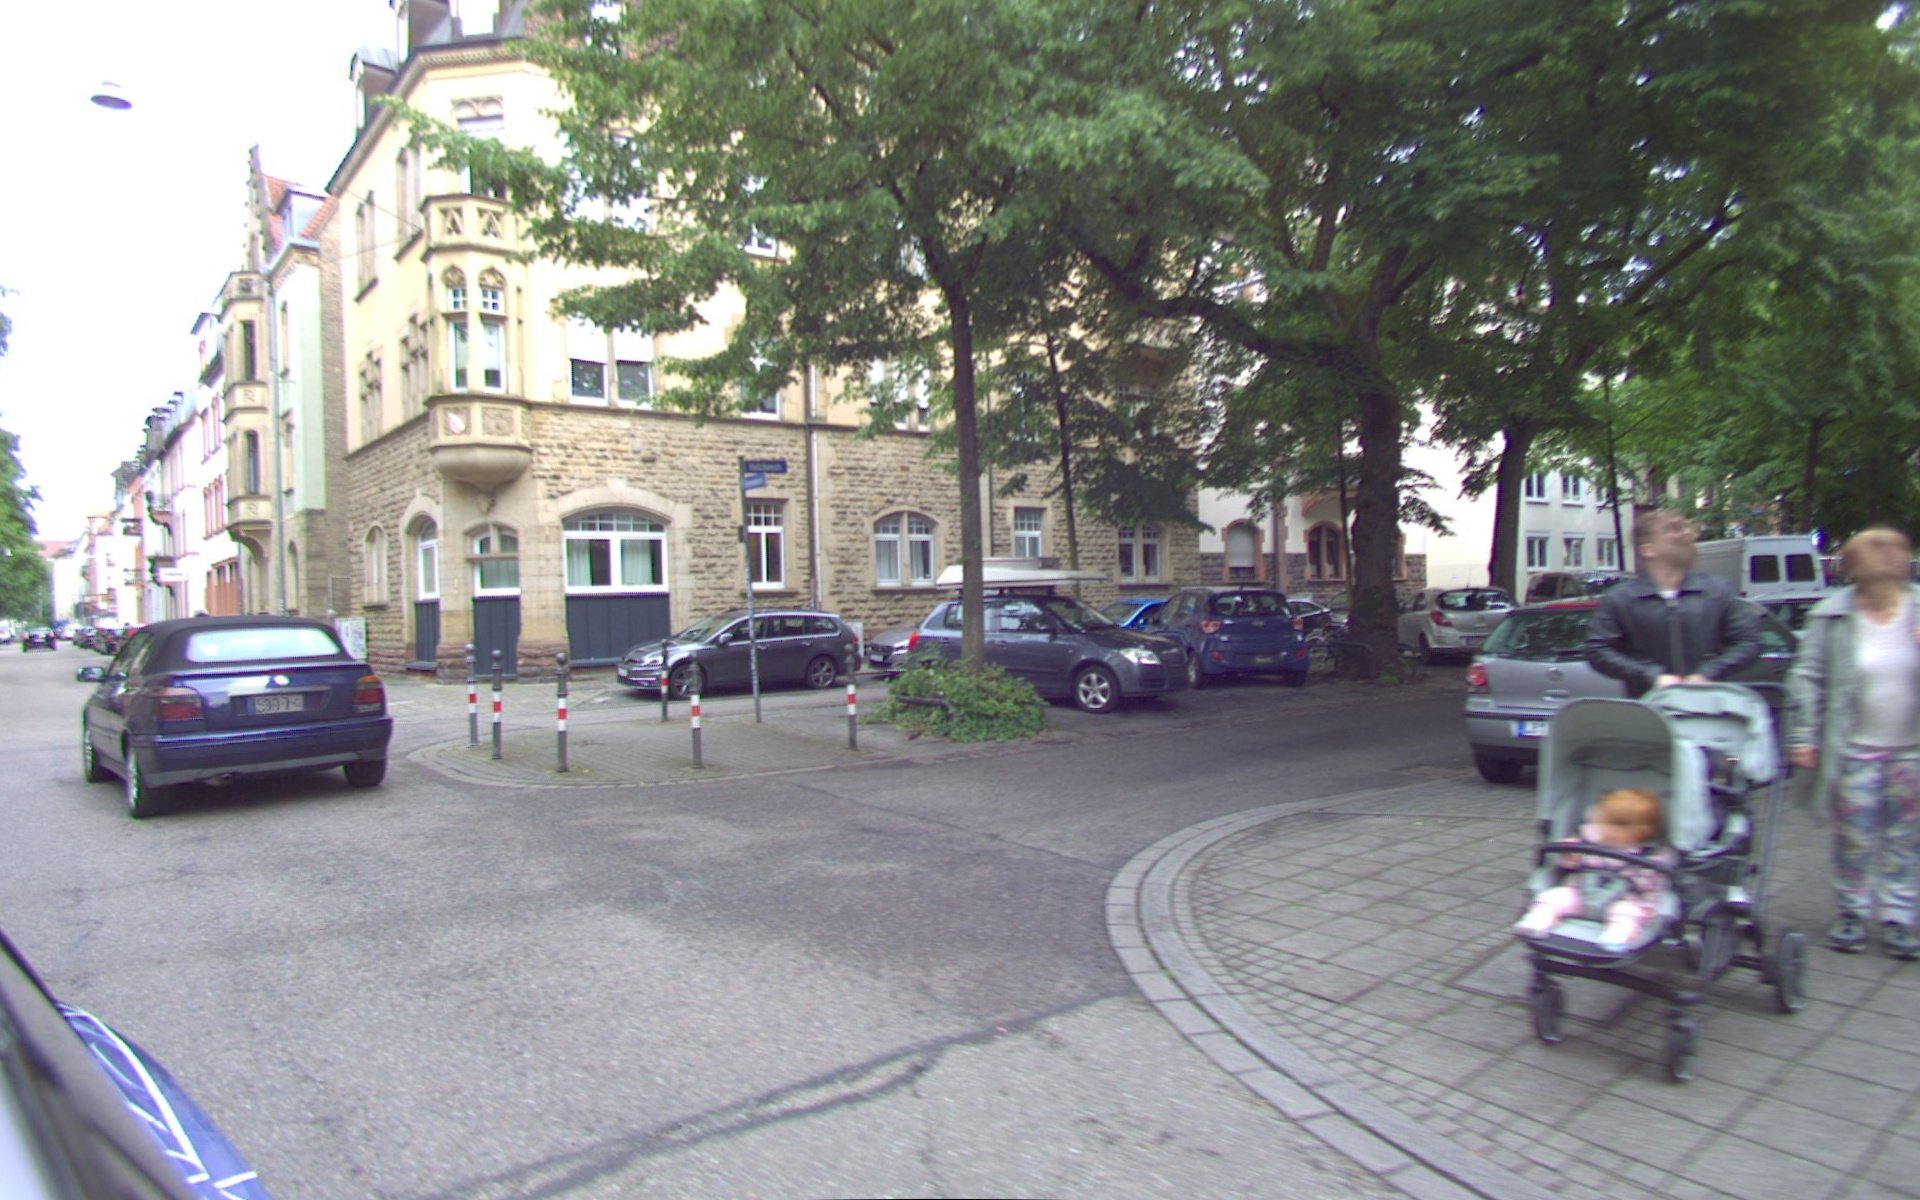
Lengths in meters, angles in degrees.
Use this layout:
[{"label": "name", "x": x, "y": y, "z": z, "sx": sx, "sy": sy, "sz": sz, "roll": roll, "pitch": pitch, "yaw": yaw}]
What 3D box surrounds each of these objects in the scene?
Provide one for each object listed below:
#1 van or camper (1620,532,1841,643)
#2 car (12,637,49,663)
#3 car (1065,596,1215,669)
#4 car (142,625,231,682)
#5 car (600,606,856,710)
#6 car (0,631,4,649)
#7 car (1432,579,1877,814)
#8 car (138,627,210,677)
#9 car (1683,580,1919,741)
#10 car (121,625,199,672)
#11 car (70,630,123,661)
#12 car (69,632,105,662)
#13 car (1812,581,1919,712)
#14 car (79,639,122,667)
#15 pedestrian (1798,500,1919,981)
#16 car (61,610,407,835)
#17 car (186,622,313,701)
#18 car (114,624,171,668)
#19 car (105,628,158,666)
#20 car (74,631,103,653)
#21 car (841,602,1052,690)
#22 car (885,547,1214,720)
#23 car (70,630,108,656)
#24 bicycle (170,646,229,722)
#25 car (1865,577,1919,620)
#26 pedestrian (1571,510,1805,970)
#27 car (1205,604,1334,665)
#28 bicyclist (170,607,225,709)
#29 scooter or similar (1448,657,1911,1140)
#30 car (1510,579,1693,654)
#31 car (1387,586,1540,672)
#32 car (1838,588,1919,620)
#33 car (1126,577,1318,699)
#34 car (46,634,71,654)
[{"label": "van or camper", "x": 19.399, "y": -0.281, "z": 25.884, "sx": 2.050, "sy": 2.480, "sz": 5.286, "roll": -2, "pitch": 0, "yaw": 8}, {"label": "car", "x": -63.963, "y": 3.429, "z": 69.692, "sx": 1.787, "sy": 1.642, "sz": 4.213, "roll": -2, "pitch": 0, "yaw": -42}, {"label": "car", "x": 4.310, "y": 0.718, "z": 24.134, "sx": 3.335, "sy": 1.477, "sz": 1.667, "roll": -2, "pitch": 3, "yaw": -36}, {"label": "car", "x": -22.288, "y": 1.509, "z": 29.111, "sx": 1.571, "sy": 1.445, "sz": 3.812, "roll": -4, "pitch": 1, "yaw": -44}, {"label": "car", "x": -4.139, "y": 0.964, "z": 18.397, "sx": 4.215, "sy": 1.477, "sz": 1.667, "roll": -2, "pitch": 3, "yaw": -36}, {"label": "car", "x": -97.428, "y": 4.092, "z": 101.476, "sx": 1.969, "sy": 1.763, "sz": 4.006, "roll": -2, "pitch": 0, "yaw": -41}, {"label": "car", "x": 5.565, "y": 0.642, "z": 8.024, "sx": 3.520, "sy": 1.471, "sz": 1.654, "roll": 0, "pitch": -3, "yaw": -34}, {"label": "car", "x": -25.326, "y": 1.652, "z": 32.572, "sx": 1.499, "sy": 1.445, "sz": 3.459, "roll": -4, "pitch": 1, "yaw": -42}, {"label": "car", "x": 9.529, "y": 0.542, "z": 10.952, "sx": 3.443, "sy": 1.471, "sz": 1.654, "roll": -1, "pitch": 0, "yaw": -34}, {"label": "car", "x": -28.727, "y": 1.706, "z": 36.297, "sx": 3.554, "sy": 1.522, "sz": 1.648, "roll": -2, "pitch": 0, "yaw": 43}, {"label": "car", "x": -43.612, "y": 2.256, "z": 51.074, "sx": 1.877, "sy": 1.401, "sz": 4.004, "roll": -2, "pitch": 0, "yaw": -43}, {"label": "car", "x": -59.230, "y": 3.141, "z": 68.663, "sx": 1.817, "sy": 1.874, "sz": 4.005, "roll": -1, "pitch": -1, "yaw": -41}, {"label": "car", "x": 12.991, "y": 0.541, "z": 13.454, "sx": 3.444, "sy": 1.471, "sz": 1.654, "roll": -3, "pitch": 2, "yaw": -34}, {"label": "car", "x": -48.690, "y": 2.979, "z": 57.305, "sx": 1.636, "sy": 1.393, "sz": 3.475, "roll": -4, "pitch": 1, "yaw": -43}, {"label": "pedestrian", "x": 3.550, "y": 0.476, "z": 3.641, "sx": 0.608, "sy": 1.655, "sz": 0.605, "roll": -2, "pitch": 0, "yaw": -31}, {"label": "car", "x": -6.213, "y": 0.831, "z": 8.488, "sx": 3.853, "sy": 1.424, "sz": 1.689, "roll": -1, "pitch": 0, "yaw": 44}, {"label": "car", "x": -15.502, "y": 1.290, "z": 22.007, "sx": 1.707, "sy": 1.445, "sz": 3.886, "roll": -4, "pitch": 1, "yaw": -42}, {"label": "car", "x": -31.928, "y": 1.781, "z": 39.491, "sx": 1.448, "sy": 1.541, "sz": 3.572, "roll": -4, "pitch": 0, "yaw": -43}, {"label": "car", "x": -34.891, "y": 1.982, "z": 42.599, "sx": 1.448, "sy": 1.427, "sz": 3.922, "roll": -4, "pitch": 1, "yaw": -43}, {"label": "car", "x": -62.730, "y": 3.031, "z": 72.833, "sx": 1.436, "sy": 1.420, "sz": 3.815, "roll": -3, "pitch": 0, "yaw": -42}, {"label": "car", "x": -0.228, "y": 0.877, "z": 21.053, "sx": 4.215, "sy": 1.477, "sz": 1.667, "roll": -2, "pitch": 3, "yaw": -36}, {"label": "car", "x": 1.128, "y": 0.425, "z": 13.476, "sx": 3.952, "sy": 1.983, "sz": 1.812, "roll": -2, "pitch": -1, "yaw": 35}, {"label": "car", "x": -53.370, "y": 2.590, "z": 62.014, "sx": 1.587, "sy": 1.483, "sz": 3.346, "roll": -1, "pitch": 0, "yaw": -43}, {"label": "bicycle", "x": -11.957, "y": 1.292, "z": 15.891, "sx": 0.626, "sy": 1.102, "sz": 1.802, "roll": -1, "pitch": -2, "yaw": -41}, {"label": "car", "x": 34.198, "y": -0.084, "z": 35.352, "sx": 1.868, "sy": 1.468, "sz": 3.372, "roll": -2, "pitch": 0, "yaw": -7}, {"label": "pedestrian", "x": 2.867, "y": 0.497, "z": 3.999, "sx": 0.520, "sy": 1.655, "sz": 0.530, "roll": -3, "pitch": 0, "yaw": -31}, {"label": "car", "x": 8.199, "y": 0.862, "z": 26.739, "sx": 3.335, "sy": 1.359, "sz": 1.582, "roll": -2, "pitch": 3, "yaw": -36}, {"label": "bicyclist", "x": -12.057, "y": 0.899, "z": 15.997, "sx": 0.639, "sy": 1.550, "sz": 0.678, "roll": -1, "pitch": -1, "yaw": -41}, {"label": "scooter or similar", "x": 2.380, "y": 0.822, "z": 3.315, "sx": 1.449, "sy": 1.112, "sz": 0.678, "roll": -4, "pitch": 1, "yaw": -31}, {"label": "car", "x": 14.225, "y": 0.317, "z": 22.723, "sx": 1.733, "sy": 1.529, "sz": 3.759, "roll": -1, "pitch": 1, "yaw": 1}, {"label": "car", "x": 9.546, "y": 0.483, "z": 19.500, "sx": 1.761, "sy": 1.492, "sz": 3.645, "roll": 0, "pitch": 1, "yaw": 12}, {"label": "car", "x": 29.107, "y": 0.115, "z": 31.772, "sx": 1.267, "sy": 0.914, "sz": 2.599, "roll": -2, "pitch": 0, "yaw": 14}, {"label": "car", "x": 3.924, "y": 0.483, "z": 15.749, "sx": 1.628, "sy": 1.527, "sz": 3.620, "roll": -2, "pitch": 3, "yaw": -8}, {"label": "car", "x": -103.436, "y": 5.047, "z": 116.143, "sx": 2.023, "sy": 2.099, "sz": 3.815, "roll": -3, "pitch": 0, "yaw": -42}]
